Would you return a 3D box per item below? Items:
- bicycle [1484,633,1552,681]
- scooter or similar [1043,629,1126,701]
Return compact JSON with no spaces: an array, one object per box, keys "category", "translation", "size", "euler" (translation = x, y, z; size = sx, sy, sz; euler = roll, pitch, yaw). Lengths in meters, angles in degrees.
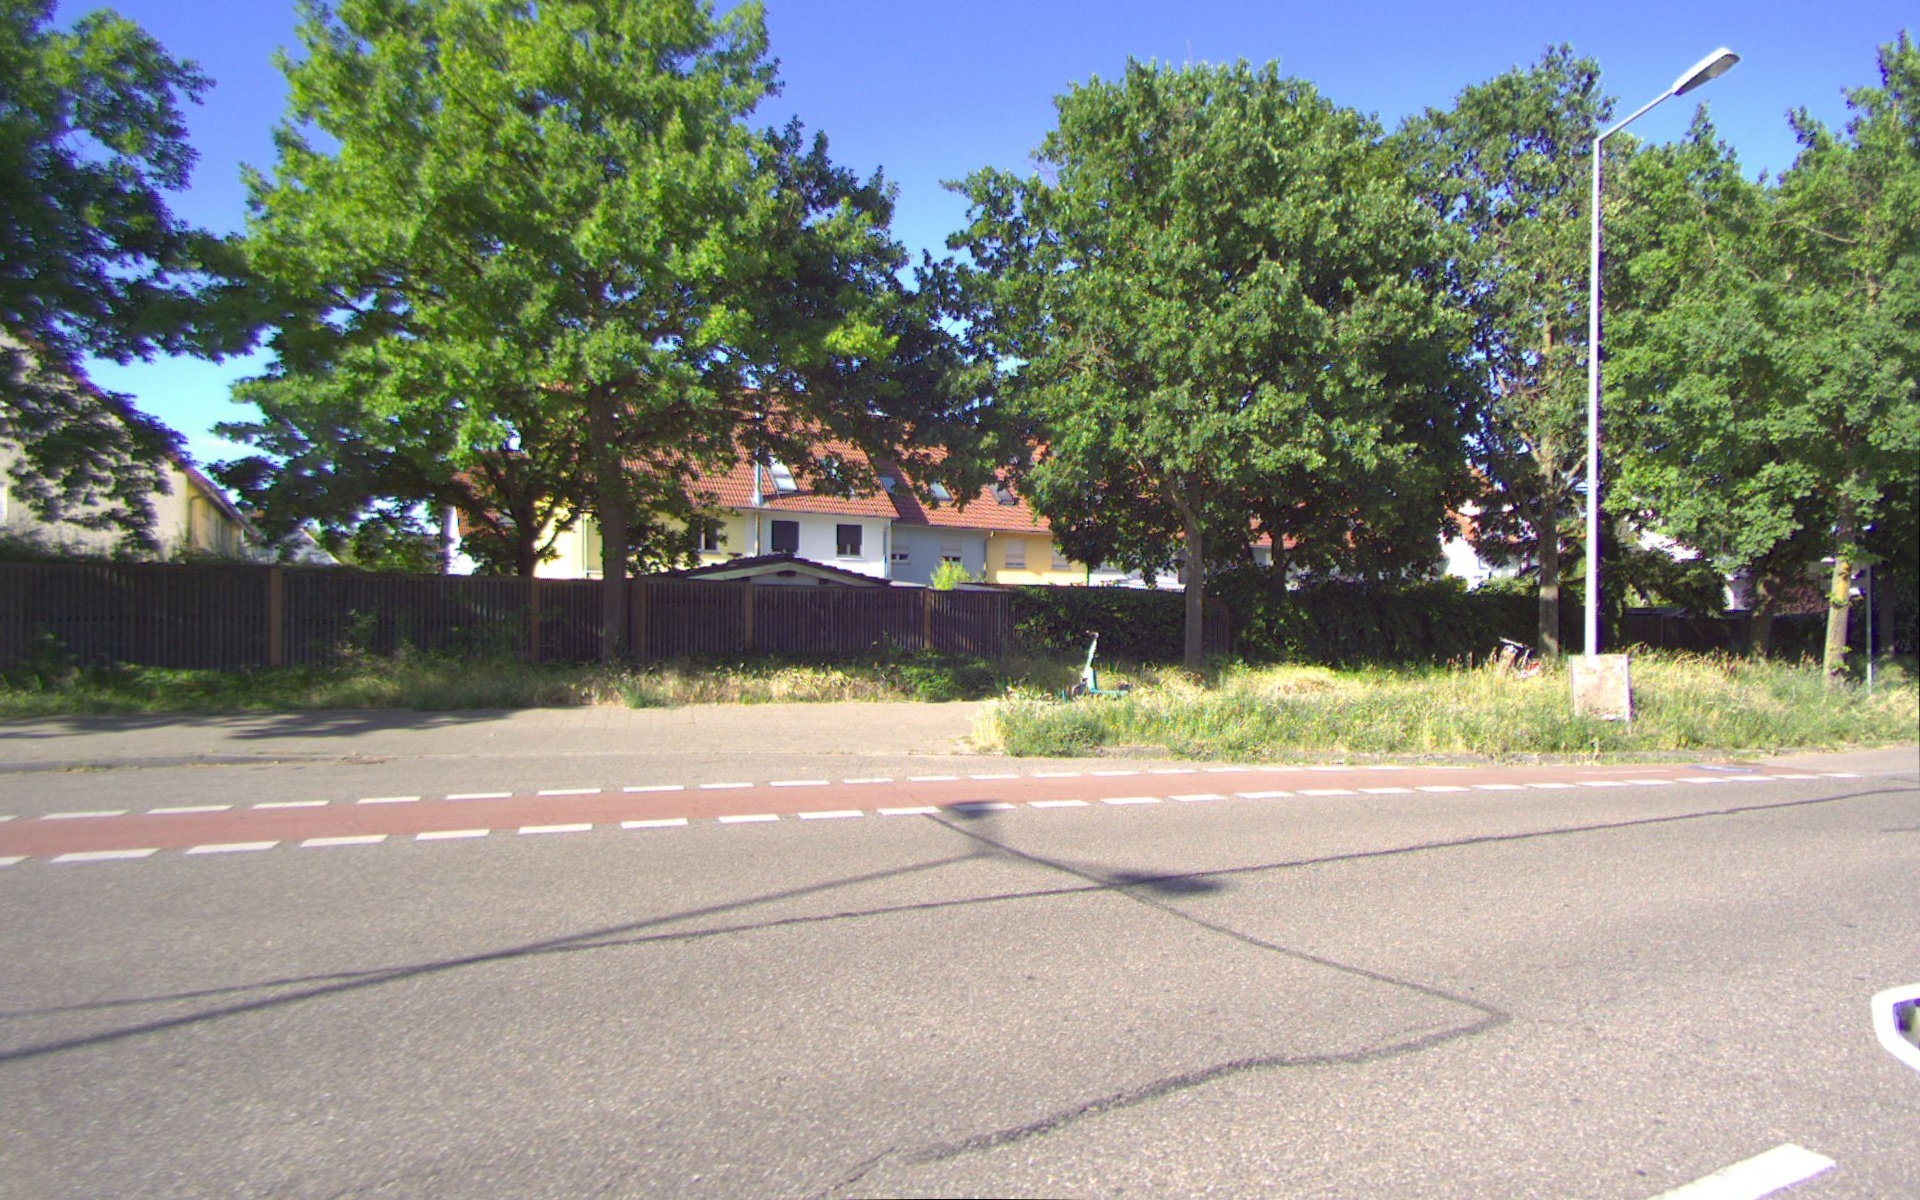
[{"category":"bicycle","translation":[12.733,1.296,22.900],"size":[1.858,1.067,0.503],"euler":[2,-1,-31]},{"category":"scooter or similar","translation":[2.239,1.159,18.110],"size":[1.390,1.235,0.539],"euler":[0,1,-15]}]
